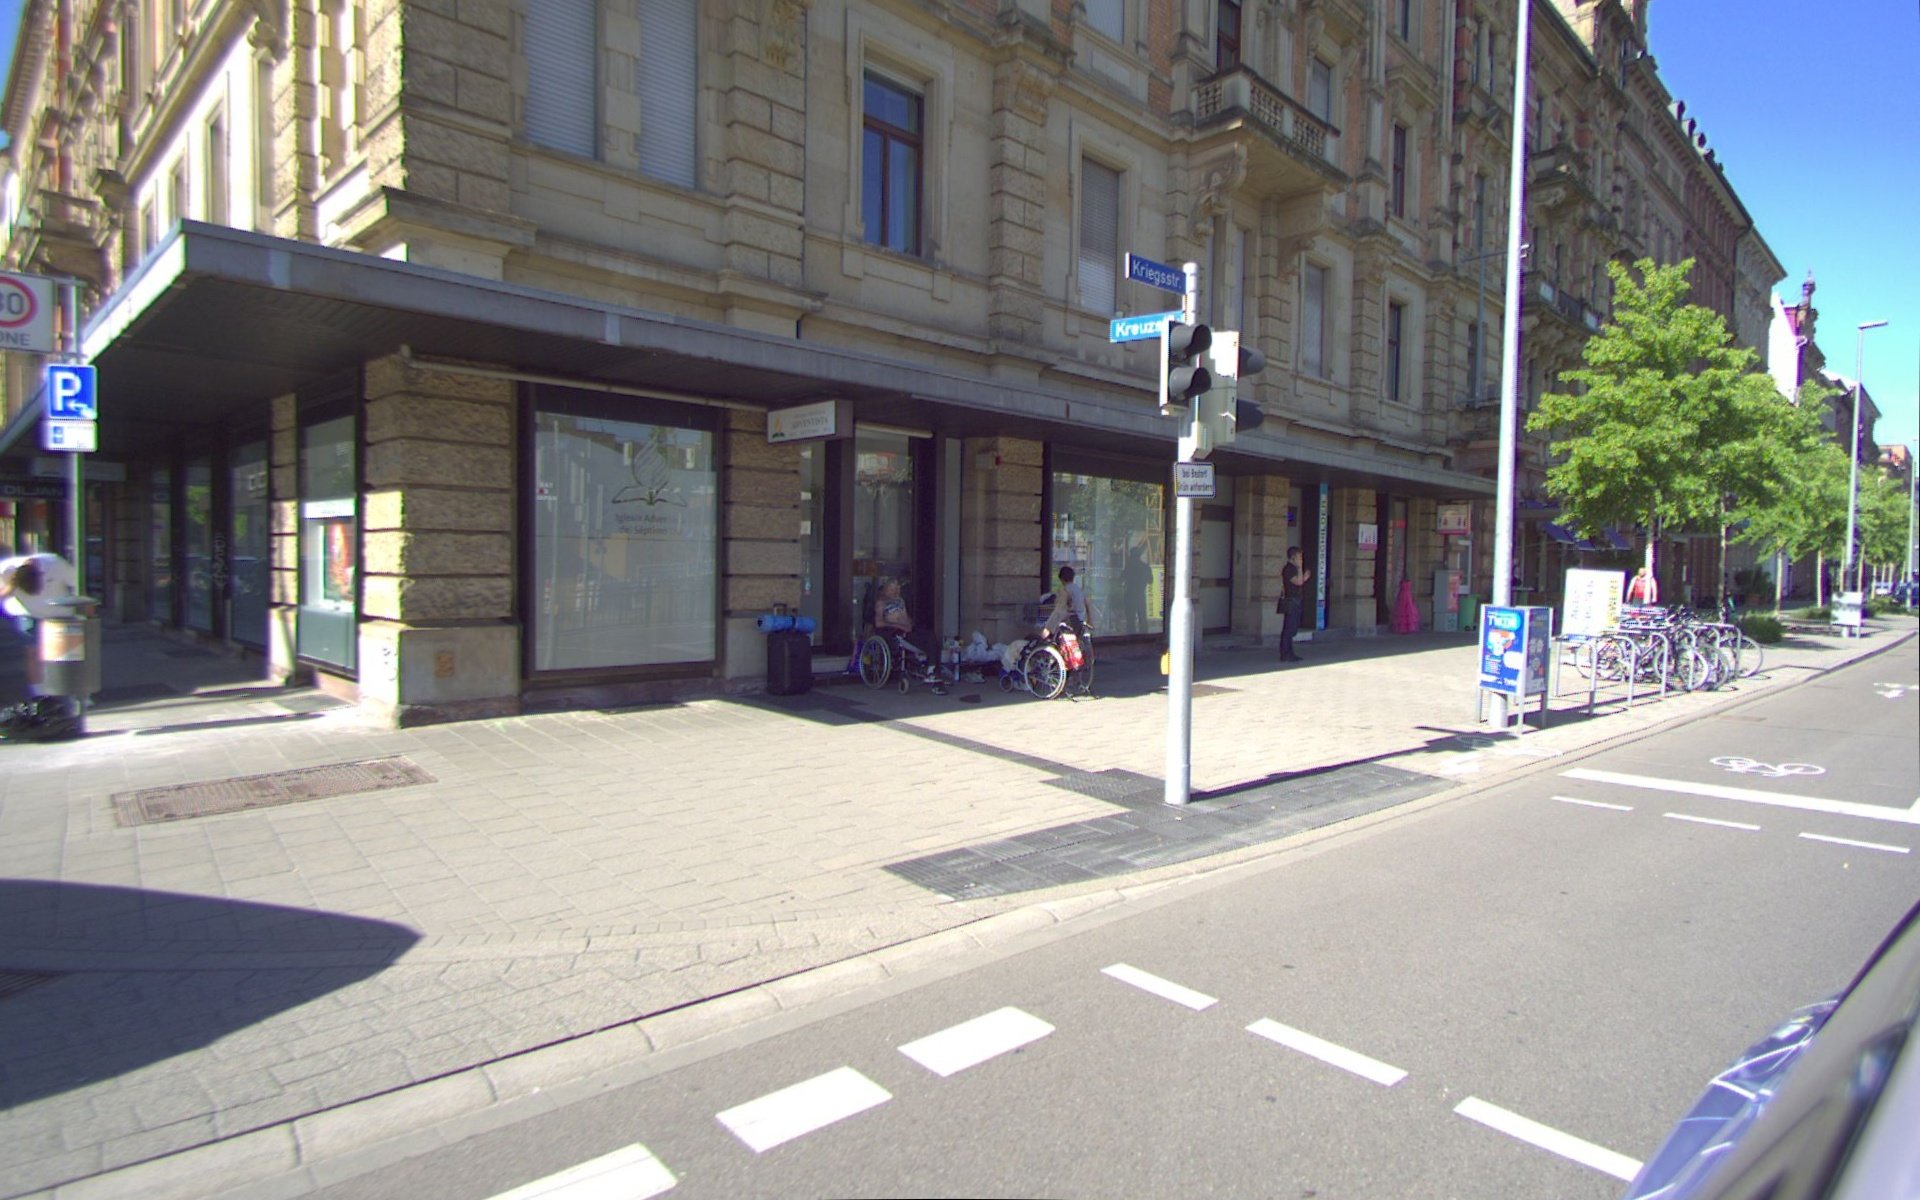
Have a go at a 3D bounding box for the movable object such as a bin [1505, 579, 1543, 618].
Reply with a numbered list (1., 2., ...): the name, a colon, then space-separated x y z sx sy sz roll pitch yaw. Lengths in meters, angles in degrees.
1. movable object such as a bin: 14.666 -0.041 26.339 0.576 0.986 0.692 -2 2 -37

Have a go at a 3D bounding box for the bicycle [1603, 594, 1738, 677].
1. bicycle: 11.240 0.532 16.041 1.661 1.123 0.594 5 5 40

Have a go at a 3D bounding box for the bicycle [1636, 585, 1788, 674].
1. bicycle: 12.501 0.455 16.872 0.680 1.266 1.868 -2 5 -43

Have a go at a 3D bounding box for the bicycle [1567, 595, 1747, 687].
1. bicycle: 10.227 0.563 14.925 0.593 1.133 2.053 -2 5 -42

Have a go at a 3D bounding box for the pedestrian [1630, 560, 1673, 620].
1. pedestrian: 19.185 -0.280 28.086 0.795 1.603 0.752 -1 4 -42

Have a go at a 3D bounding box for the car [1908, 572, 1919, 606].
1. car: 48.854 -0.577 50.709 3.686 1.603 1.667 -2 1 -42

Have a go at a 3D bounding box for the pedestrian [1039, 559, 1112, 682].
1. pedestrian: 1.398 0.225 12.276 0.637 1.411 0.573 -2 4 -43

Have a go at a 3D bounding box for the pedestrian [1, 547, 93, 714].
1. pedestrian: -8.456 0.252 9.373 0.681 1.468 0.535 2 3 43

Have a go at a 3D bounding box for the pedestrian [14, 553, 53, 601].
1. pedestrian: -23.138 -0.576 25.282 0.645 1.184 0.670 2 2 44

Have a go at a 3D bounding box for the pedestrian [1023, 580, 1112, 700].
1. pedestrian: 1.186 0.412 11.207 0.635 1.232 0.719 -1 4 -36

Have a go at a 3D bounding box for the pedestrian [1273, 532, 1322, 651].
1. pedestrian: 5.270 -0.140 15.800 0.491 1.824 0.512 0 1 -34

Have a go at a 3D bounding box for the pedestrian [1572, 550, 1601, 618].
1. pedestrian: 17.251 -0.444 27.874 0.491 1.872 0.512 0 1 -34

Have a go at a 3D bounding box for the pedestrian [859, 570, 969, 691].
1. pedestrian: -0.523 0.303 11.350 0.691 1.232 1.074 -2 5 -42

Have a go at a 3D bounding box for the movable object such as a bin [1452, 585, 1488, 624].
1. movable object such as a bin: 12.273 0.095 24.355 0.467 0.876 0.606 -2 4 -37

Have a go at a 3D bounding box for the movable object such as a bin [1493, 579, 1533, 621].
1. movable object such as a bin: 14.175 -0.005 25.959 0.576 1.025 0.693 -2 4 -37

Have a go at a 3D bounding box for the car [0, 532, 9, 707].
1. car: -10.766 0.129 9.785 4.389 1.563 1.827 2 3 41

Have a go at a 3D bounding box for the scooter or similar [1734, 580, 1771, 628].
1. scooter or similar: 21.104 0.095 26.964 0.320 1.235 0.676 0 2 -20

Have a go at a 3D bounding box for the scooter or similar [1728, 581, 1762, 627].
1. scooter or similar: 20.685 0.107 26.675 0.283 1.187 0.640 0 2 -20
